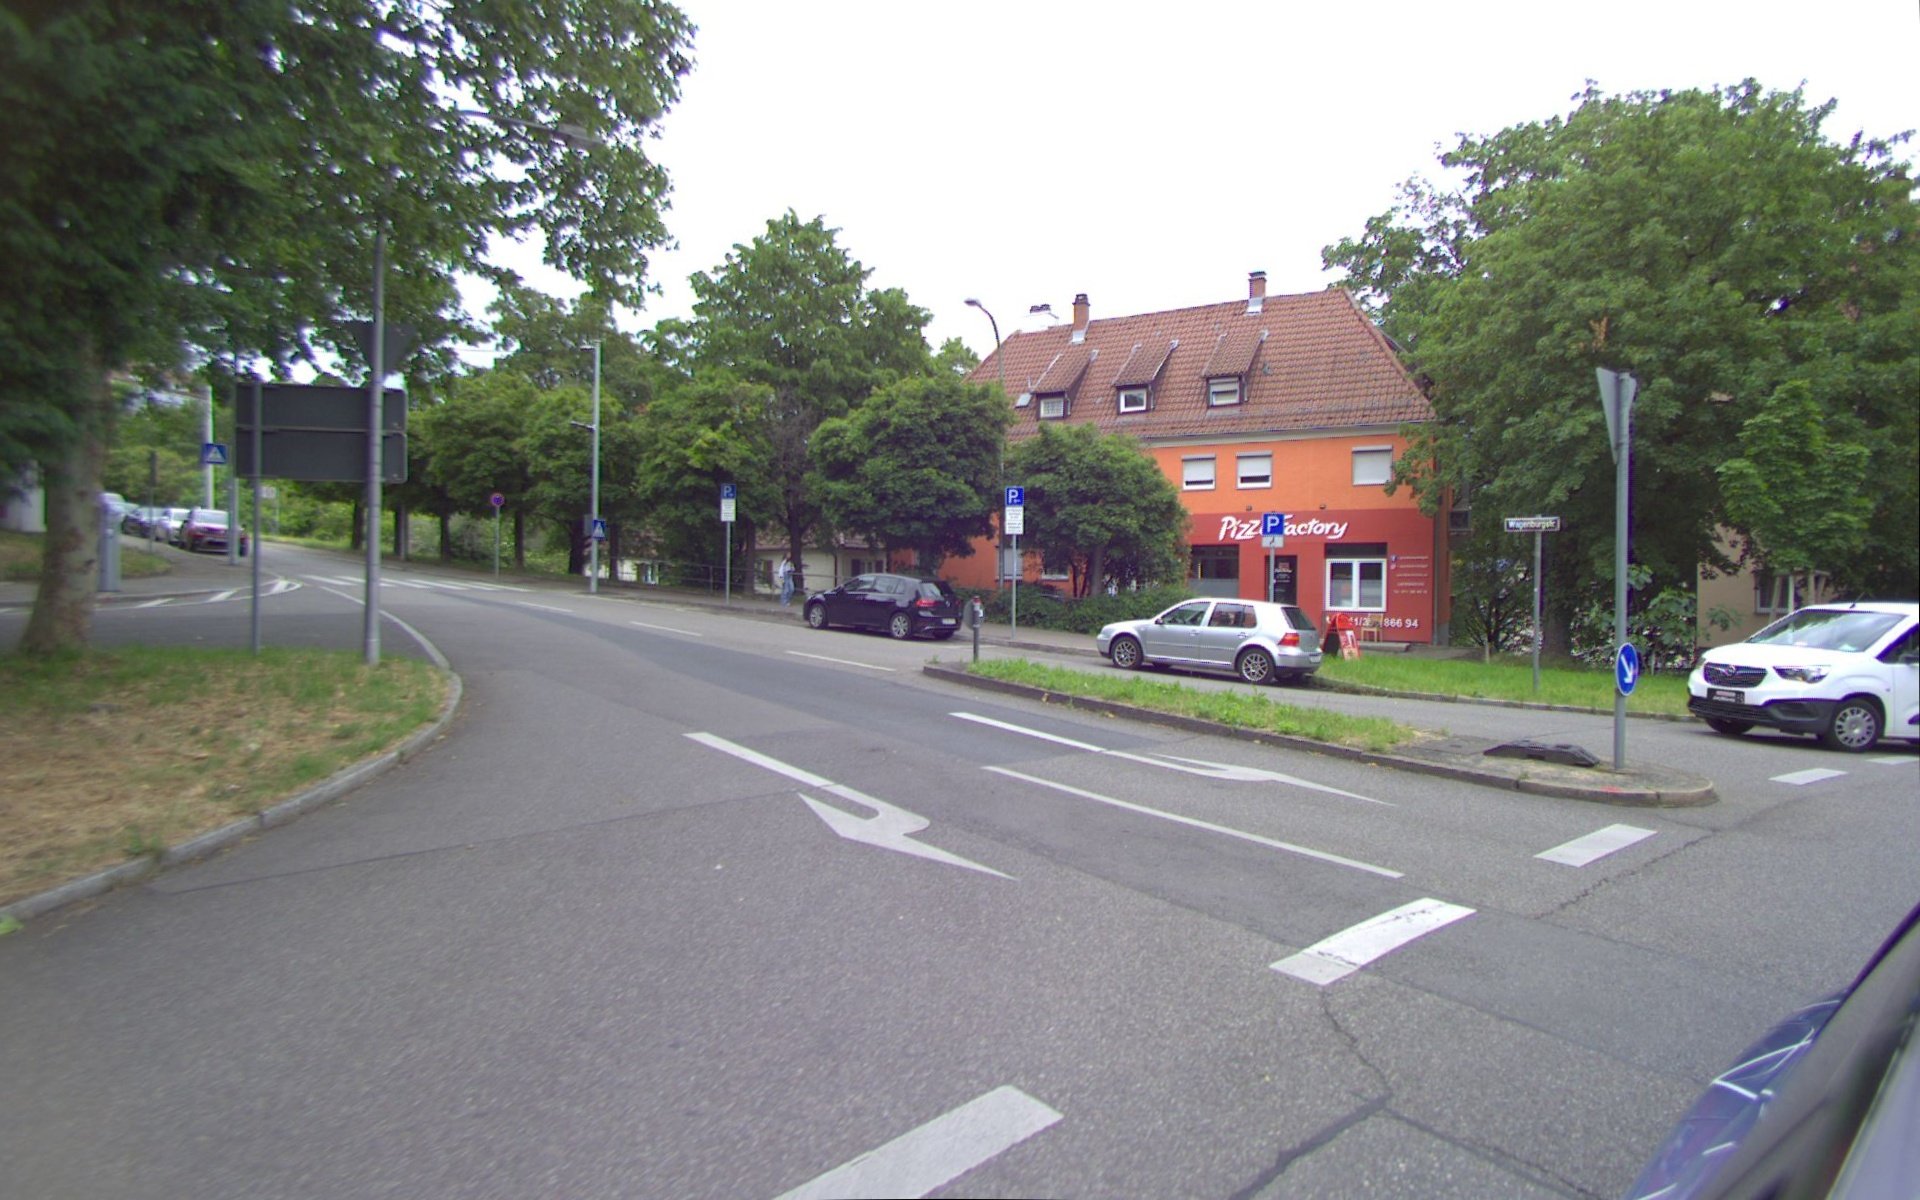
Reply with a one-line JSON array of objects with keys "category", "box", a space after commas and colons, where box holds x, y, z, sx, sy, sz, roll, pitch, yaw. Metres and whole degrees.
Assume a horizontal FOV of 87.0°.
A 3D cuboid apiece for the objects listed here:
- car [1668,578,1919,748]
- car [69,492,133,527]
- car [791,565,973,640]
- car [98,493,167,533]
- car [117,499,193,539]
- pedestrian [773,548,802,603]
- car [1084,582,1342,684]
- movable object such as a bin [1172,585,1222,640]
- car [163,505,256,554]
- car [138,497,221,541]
[{"category": "car", "box": [11.628, 0.816, 12.453, 4.745, 1.811, 1.792, 4, 0, -8]}, {"category": "car", "box": [-45.179, -4.704, 53.177, 3.984, 1.606, 1.921, 3, 0, 41]}, {"category": "car", "box": [-1.886, 0.022, 23.760, 4.108, 1.446, 1.714, 4, 2, 37]}, {"category": "car", "box": [-40.516, -4.226, 49.530, 3.986, 1.705, 1.969, 4, -1, 42]}, {"category": "car", "box": [-36.377, -3.631, 45.696, 3.984, 1.606, 1.921, 3, 0, 41]}, {"category": "pedestrian", "box": [-5.010, -0.714, 29.370, 0.489, 1.563, 0.670, 3, 3, 29]}, {"category": "car", "box": [4.526, 0.558, 18.368, 4.110, 1.446, 1.837, 4, -1, 38]}, {"category": "movable object such as a bin", "box": [6.798, 0.349, 28.999, 1.072, 1.468, 1.230, 3, 1, 28]}, {"category": "car", "box": [-28.272, -2.628, 38.098, 3.984, 1.606, 1.921, 3, 0, 41]}, {"category": "car", "box": [-32.657, -3.359, 42.318, 3.984, 1.606, 1.921, 3, 0, 41]}]
